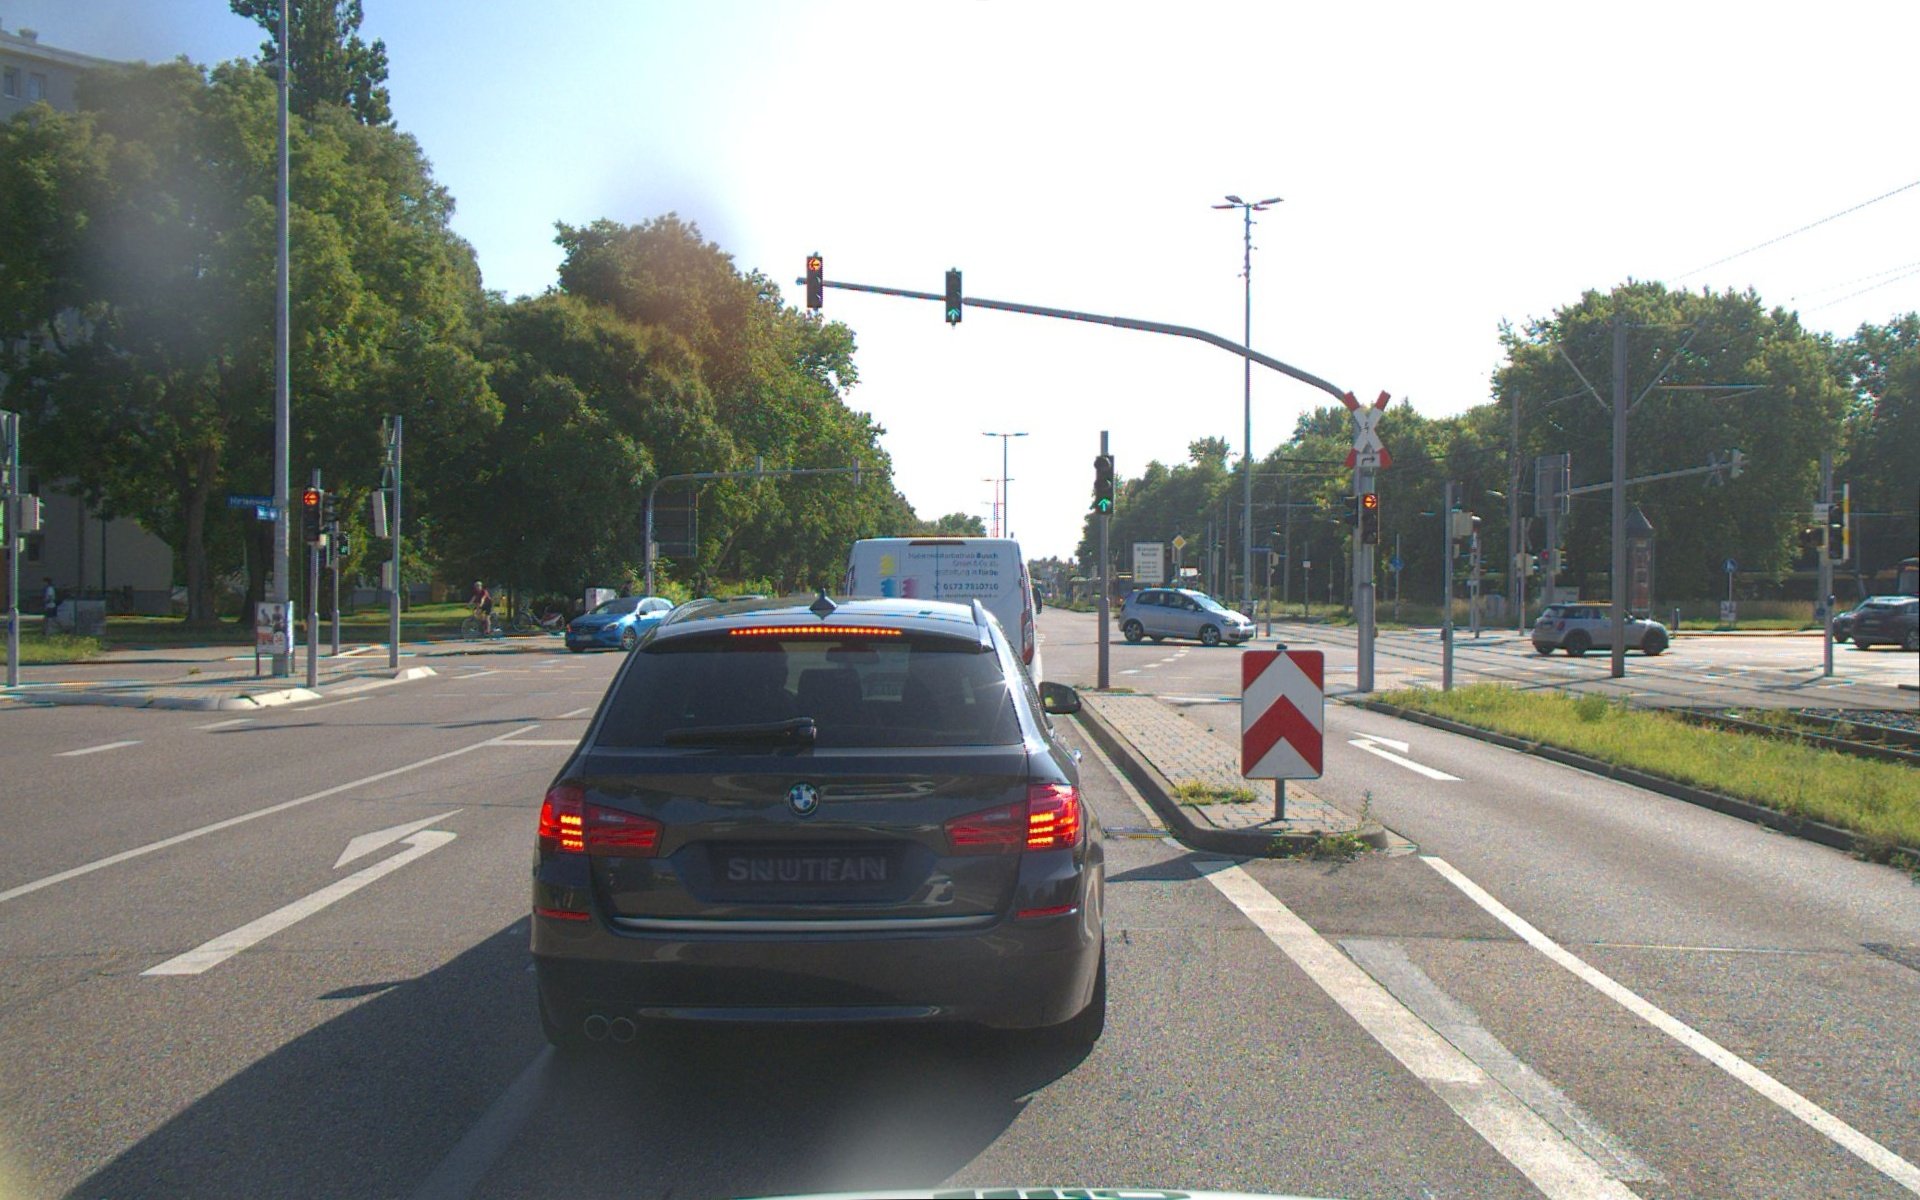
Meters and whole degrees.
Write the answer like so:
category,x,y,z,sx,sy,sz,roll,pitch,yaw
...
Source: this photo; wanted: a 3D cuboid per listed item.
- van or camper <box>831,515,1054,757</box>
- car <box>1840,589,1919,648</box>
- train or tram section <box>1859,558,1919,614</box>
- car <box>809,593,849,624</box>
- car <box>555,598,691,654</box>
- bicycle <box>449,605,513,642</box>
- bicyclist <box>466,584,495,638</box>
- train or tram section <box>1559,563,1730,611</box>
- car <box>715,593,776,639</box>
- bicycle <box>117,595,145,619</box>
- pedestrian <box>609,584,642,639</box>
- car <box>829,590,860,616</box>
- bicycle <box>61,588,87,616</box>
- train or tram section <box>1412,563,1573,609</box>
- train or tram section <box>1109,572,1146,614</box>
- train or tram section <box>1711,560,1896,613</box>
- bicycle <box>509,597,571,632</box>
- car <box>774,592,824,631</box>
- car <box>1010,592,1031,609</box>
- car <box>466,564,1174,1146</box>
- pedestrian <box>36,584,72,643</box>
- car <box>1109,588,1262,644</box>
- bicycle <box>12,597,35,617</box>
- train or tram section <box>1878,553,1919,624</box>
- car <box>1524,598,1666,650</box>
category,x,y,z,sx,sy,sz,roll,pitch,yaw
van or camper,-0.125,0.305,16.871,1.952,2.133,4.599,0,0,1
car,30.763,0.568,53.646,4.553,1.752,1.635,-1,2,-27
train or tram section,63.735,-0.918,108.460,2.981,3.642,12.231,0,0,0
car,-6.677,0.411,84.556,1.851,1.499,4.098,-1,0,-3
car,-9.173,0.683,45.415,1.742,1.439,4.246,0,0,19
bicycle,-14.199,0.678,49.076,0.607,1.058,2.070,0,0,25
bicyclist,-14.217,0.310,49.034,0.595,1.587,0.602,0,0,26
train or tram section,53.275,-1.029,128.950,11.984,3.642,3.043,0,0,36
car,-7.384,0.515,57.248,1.668,1.490,4.368,-1,0,-2
bicycle,-33.481,0.266,66.785,0.663,0.936,2.377,0,0,-35
pedestrian,-10.969,0.358,54.266,0.798,1.782,0.932,0,0,5
car,-7.010,0.162,100.825,1.753,1.546,3.998,-1,0,-3
bicycle,-35.045,0.086,65.424,0.606,1.085,1.892,1,-2,-37
train or tram section,43.513,-1.124,135.461,12.170,3.642,3.048,0,0,31
train or tram section,15.538,-0.593,154.304,2.738,3.681,12.960,1,0,3
train or tram section,60.917,-0.942,119.861,3.017,3.642,12.087,0,0,-34
bicycle,-13.817,0.489,54.410,1.870,1.138,0.632,0,0,-1
car,-6.914,0.454,71.409,1.709,1.589,4.000,-2,0,0
car,5.510,0.031,151.025,1.756,1.512,3.900,0,0,1
car,-0.388,0.662,6.405,1.864,1.532,4.064,0,0,-1
pedestrian,-26.861,0.393,49.041,0.610,1.743,0.705,0,1,11
car,6.660,0.440,48.953,4.118,1.590,1.850,0,0,35
bicycle,-36.612,0.264,64.667,0.578,0.721,2.211,0,1,-35
train or tram section,53.152,-0.603,87.967,11.721,3.642,3.015,0,0,-37
car,17.807,0.665,46.429,3.458,1.408,1.601,0,0,-14
